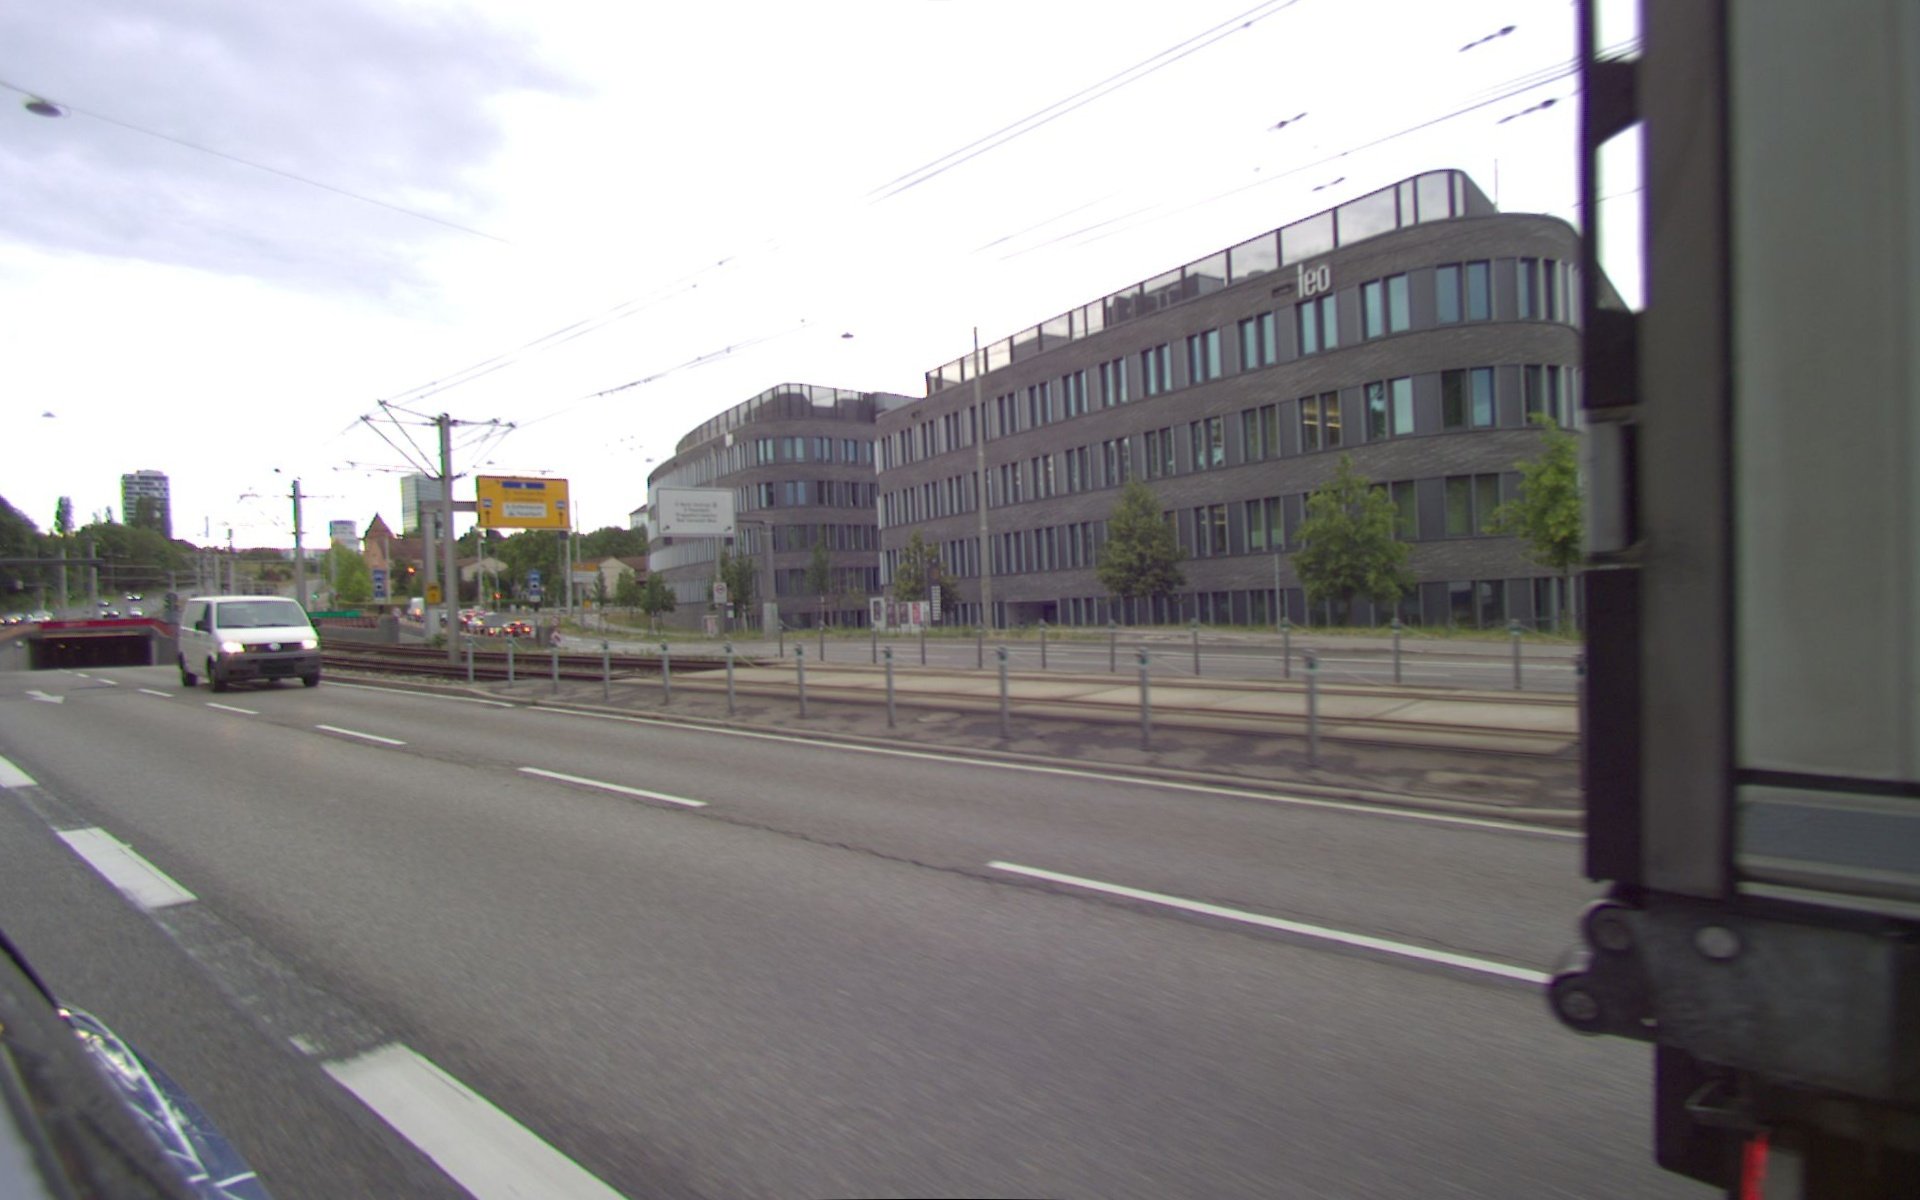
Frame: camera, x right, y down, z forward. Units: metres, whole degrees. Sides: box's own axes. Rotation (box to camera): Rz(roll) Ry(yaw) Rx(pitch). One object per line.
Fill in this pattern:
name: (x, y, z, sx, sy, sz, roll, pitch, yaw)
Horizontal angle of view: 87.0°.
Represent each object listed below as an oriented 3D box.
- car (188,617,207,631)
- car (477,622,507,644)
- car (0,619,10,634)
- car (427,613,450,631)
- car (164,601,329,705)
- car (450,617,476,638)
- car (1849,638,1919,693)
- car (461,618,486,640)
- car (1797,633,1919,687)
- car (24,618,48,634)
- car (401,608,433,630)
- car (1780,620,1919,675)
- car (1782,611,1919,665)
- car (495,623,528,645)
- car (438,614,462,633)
car: (-109.241, 3.451, 144.933, 1.969, 1.962, 4.007, -1, 0, -40)
car: (-41.685, 2.929, 90.098, 1.807, 1.811, 4.226, 0, -2, -34)
car: (-133.786, 3.659, 140.800, 3.998, 2.029, 1.973, -1, 0, 41)
car: (-57.193, 2.377, 110.937, 1.644, 1.918, 4.010, -1, 0, -36)
car: (-15.470, 1.062, 21.833, 4.716, 1.973, 1.889, -1, 0, 42)
car: (-48.824, 2.657, 99.426, 1.644, 1.918, 4.009, -1, 0, -36)
car: (25.582, 1.720, 26.380, 3.567, 1.345, 1.601, -1, 0, 41)
car: (-45.359, 2.672, 94.393, 1.643, 1.918, 4.011, -1, 0, -32)
car: (26.078, 1.680, 28.691, 3.567, 1.393, 1.525, -1, 0, 41)
car: (-128.976, 3.622, 141.251, 3.998, 2.029, 1.973, -1, 0, 41)
car: (-62.345, 2.148, 116.095, 2.301, 2.486, 7.043, -1, 0, -36)
car: (27.259, 1.396, 30.594, 3.787, 1.556, 1.722, -1, 0, 41)
car: (29.338, 1.198, 32.890, 3.998, 1.666, 1.722, -1, 0, 41)
car: (-37.978, 2.883, 85.699, 1.807, 1.811, 4.226, 0, -2, -34)
car: (-52.802, 2.422, 104.728, 1.643, 1.833, 4.010, -1, 0, -34)
